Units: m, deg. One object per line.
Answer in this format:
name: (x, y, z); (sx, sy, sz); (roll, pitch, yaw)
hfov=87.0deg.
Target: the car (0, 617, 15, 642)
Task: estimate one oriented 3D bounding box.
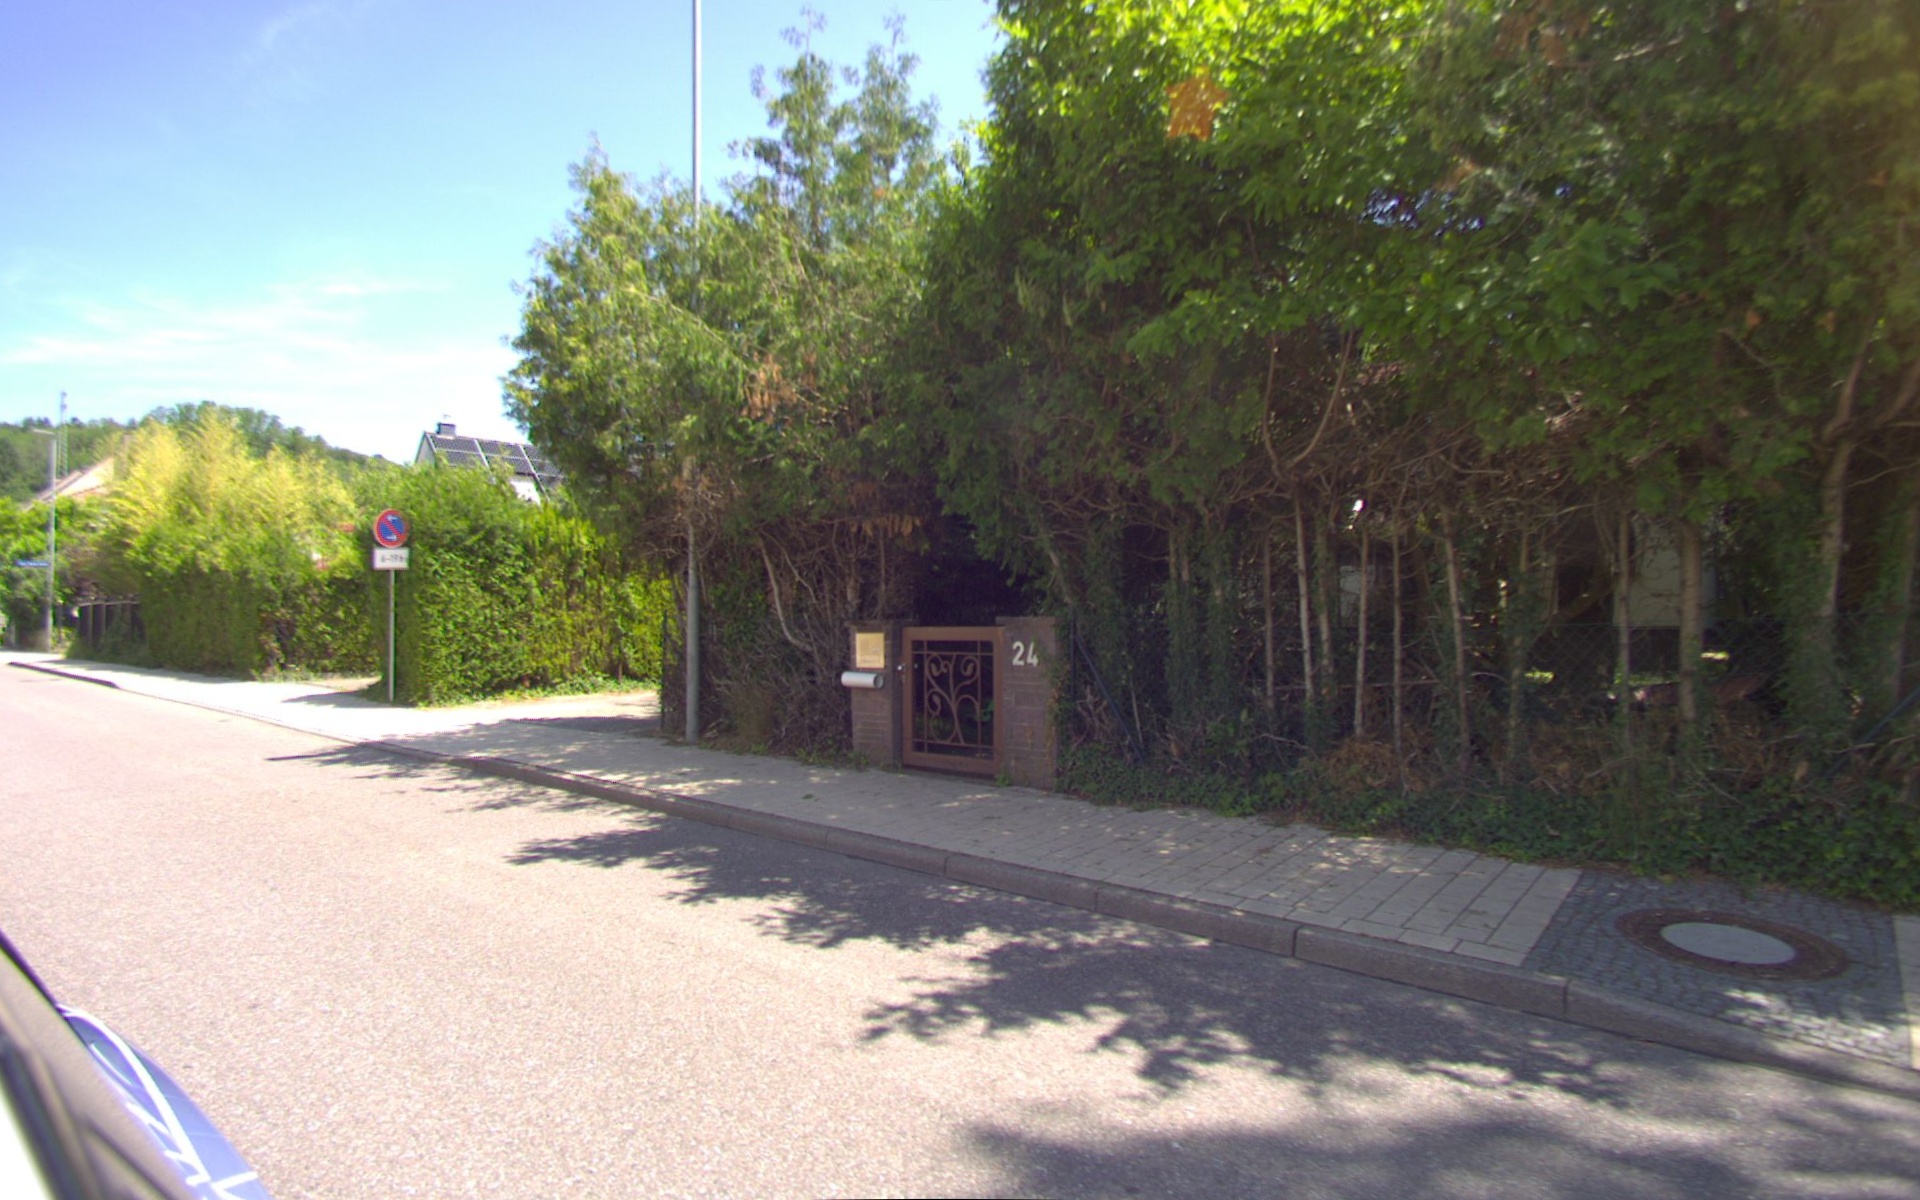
car: (-60.722, 1.828, 61.865); (3.985, 1.511, 1.708); (0, 0, -11)
